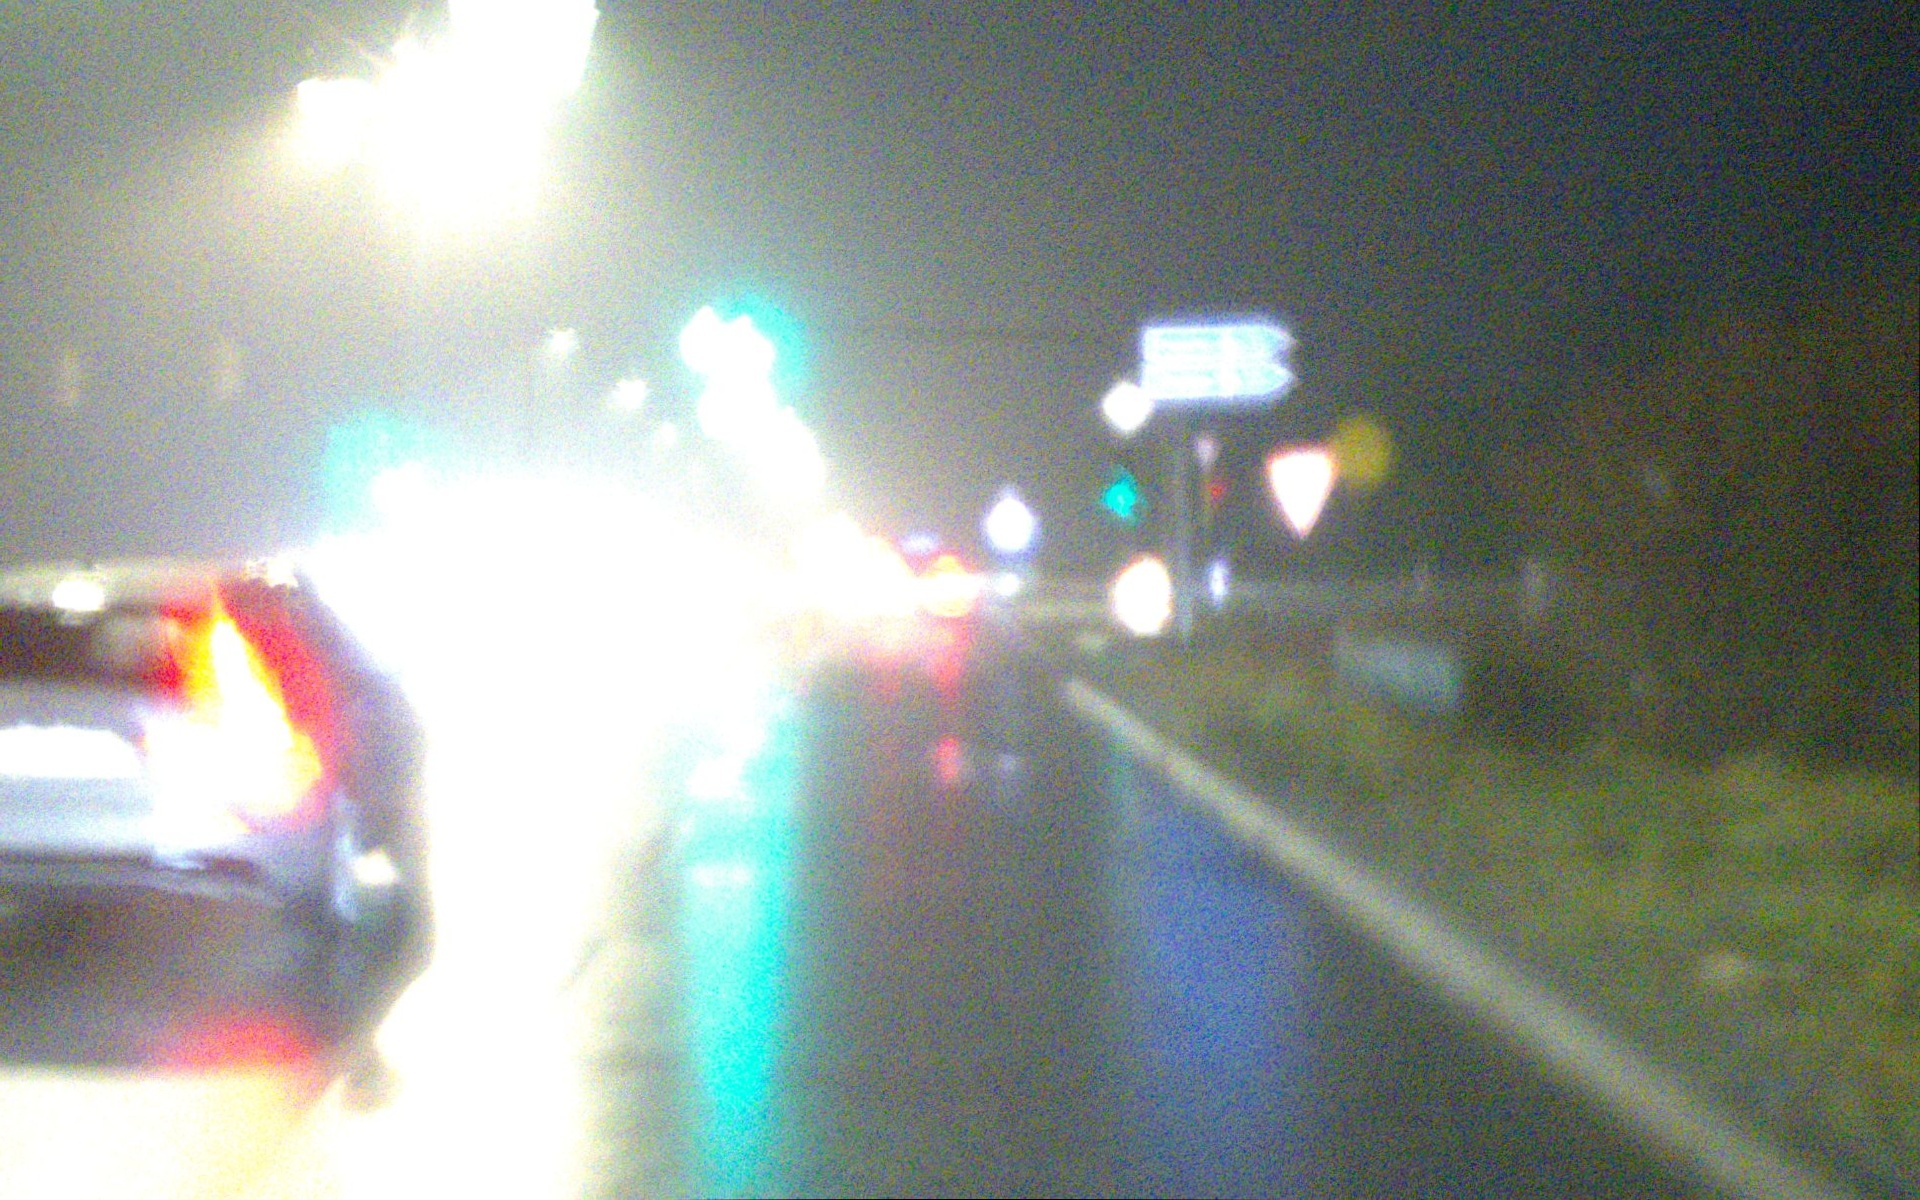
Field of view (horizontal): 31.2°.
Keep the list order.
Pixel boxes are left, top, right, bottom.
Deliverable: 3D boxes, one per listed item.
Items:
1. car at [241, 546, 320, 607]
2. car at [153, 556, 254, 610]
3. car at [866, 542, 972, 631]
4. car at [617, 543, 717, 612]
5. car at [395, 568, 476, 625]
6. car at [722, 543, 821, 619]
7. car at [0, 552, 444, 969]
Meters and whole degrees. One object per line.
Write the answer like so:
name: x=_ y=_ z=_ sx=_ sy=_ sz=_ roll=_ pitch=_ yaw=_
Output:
car: x=-21.507 y=-0.752 z=108.917 sx=1.762 sy=1.886 sz=4.206 roll=0 pitch=1 yaw=-1
car: x=-17.315 y=-0.406 z=78.822 sx=1.643 sy=1.199 sz=3.615 roll=0 pitch=1 yaw=-2
car: x=-0.842 y=-0.258 z=73.236 sx=1.910 sy=1.596 sz=3.999 roll=4 pitch=-2 yaw=3
car: x=-8.208 y=-0.614 z=96.641 sx=2.178 sy=1.596 sz=3.999 roll=4 pitch=-2 yaw=3
car: x=-13.568 y=-0.095 z=89.054 sx=1.589 sy=1.422 sz=3.350 roll=0 pitch=1 yaw=0
car: x=-4.729 y=-0.456 z=86.844 sx=2.177 sy=1.596 sz=4.000 roll=4 pitch=-2 yaw=0
car: x=-3.352 y=0.538 z=14.256 sx=1.796 sy=1.447 sz=4.269 roll=0 pitch=1 yaw=0
